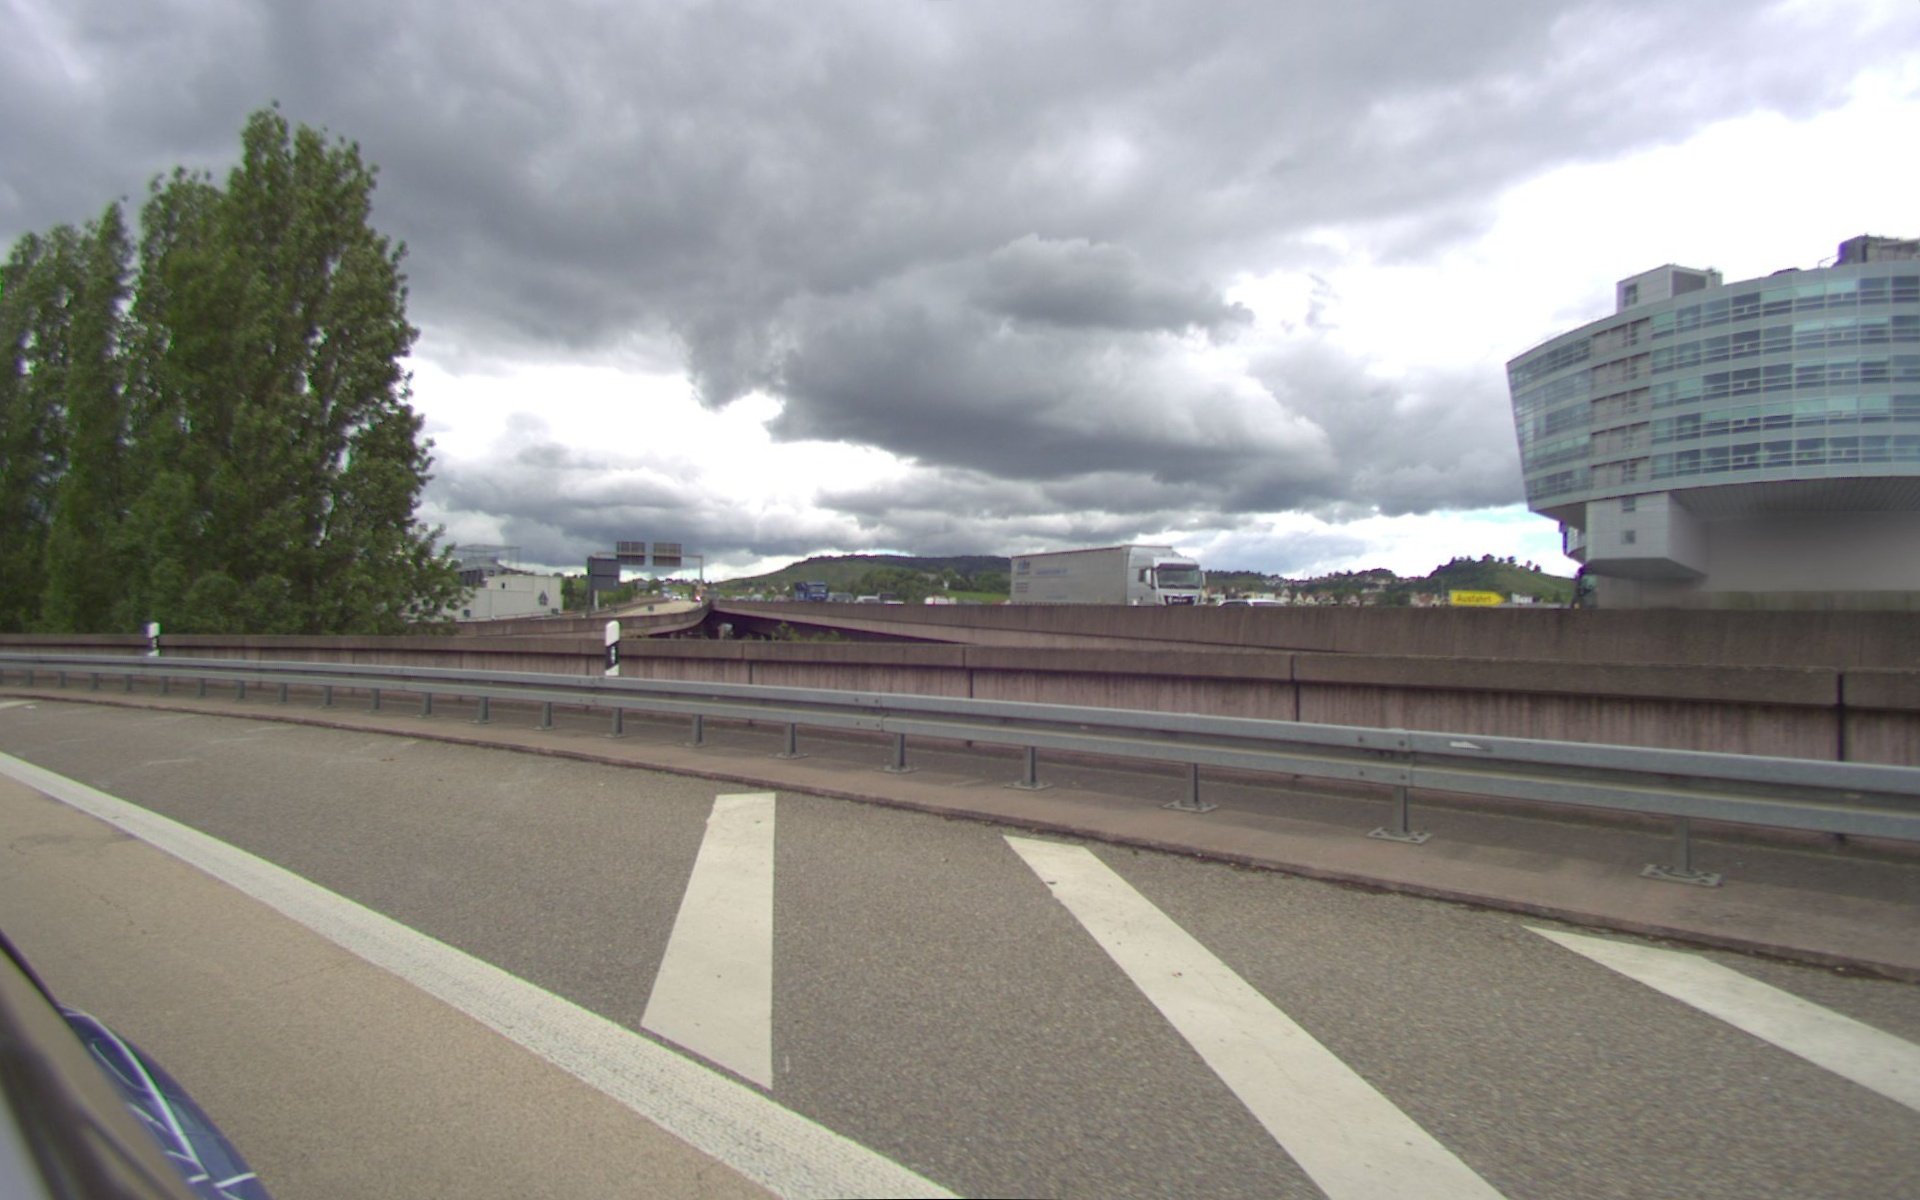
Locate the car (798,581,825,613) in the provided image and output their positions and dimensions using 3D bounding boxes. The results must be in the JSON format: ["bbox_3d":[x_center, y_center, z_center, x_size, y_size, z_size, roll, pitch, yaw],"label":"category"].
[{"bbox_3d":[-17.912,-0.347,121.853,2.325,3.688,4.814,-3,0,-18],"label":"car"}]

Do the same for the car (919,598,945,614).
[{"bbox_3d":[-2.903,0.617,104.766,1.660,1.529,3.661,-3,0,-18],"label":"car"}]

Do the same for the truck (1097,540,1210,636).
[{"bbox_3d":[8.603,-0.535,45.493,2.816,4.041,4.807,-1,0,-20],"label":"truck"}]

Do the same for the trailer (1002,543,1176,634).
[{"bbox_3d":[6.135,-0.521,52.447,2.816,4.041,14.019,-1,0,-20],"label":"trailer"}]

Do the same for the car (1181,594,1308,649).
[{"bbox_3d":[8.656,0.653,31.182,1.758,1.530,4.012,-2,0,-18],"label":"car"}]

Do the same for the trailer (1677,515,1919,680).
[{"bbox_3d":[26.846,-0.029,27.455,3.117,4.380,12.557,2,-2,-19],"label":"trailer"}]

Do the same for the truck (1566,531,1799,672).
[{"bbox_3d":[24.407,0.135,34.555,3.117,4.380,5.712,2,-2,-18],"label":"truck"}]

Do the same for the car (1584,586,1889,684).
[{"bbox_3d":[13.590,0.570,18.031,1.685,1.508,4.013,-1,-1,-19],"label":"car"}]
